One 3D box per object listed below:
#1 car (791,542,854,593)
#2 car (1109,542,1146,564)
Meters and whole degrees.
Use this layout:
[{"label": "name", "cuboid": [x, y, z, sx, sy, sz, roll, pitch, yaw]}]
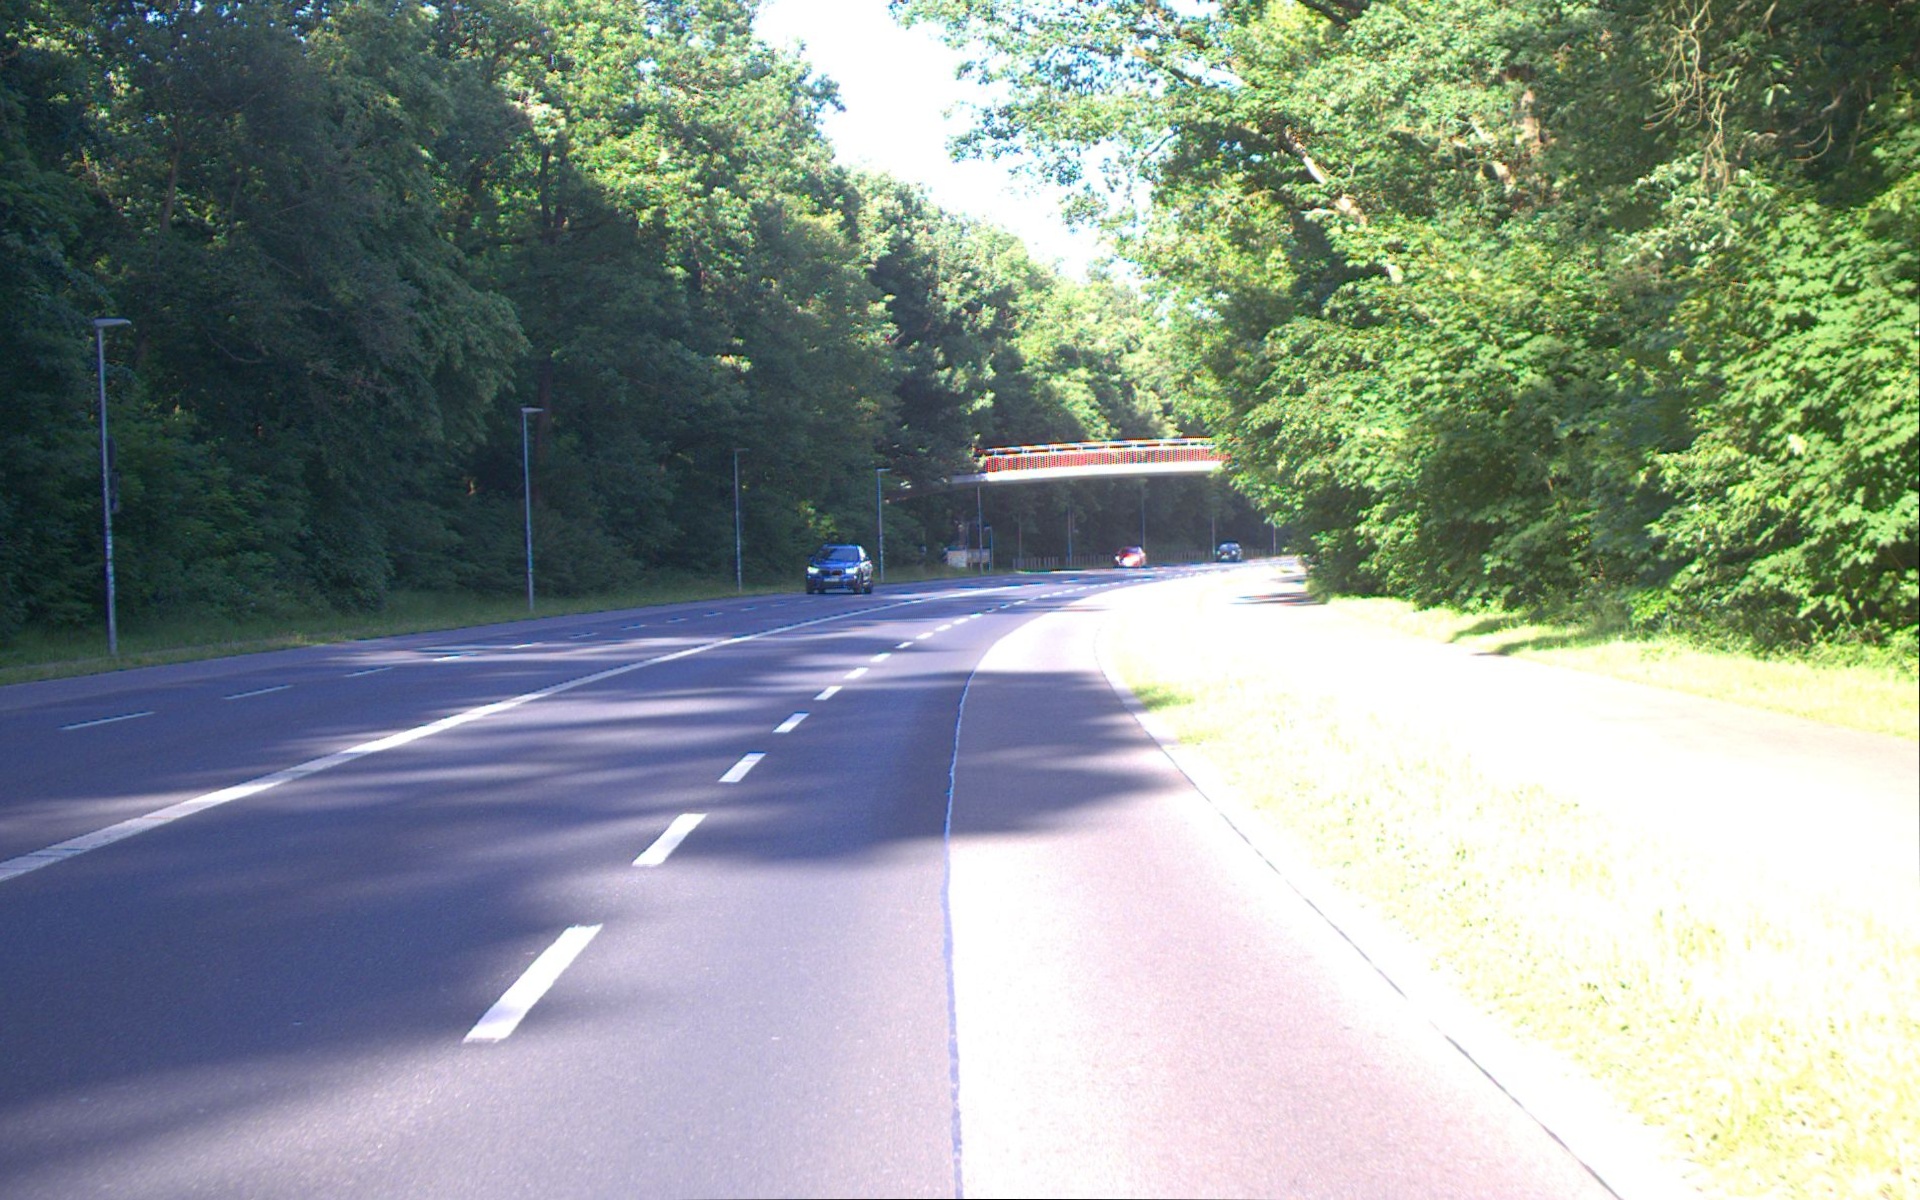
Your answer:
[{"label": "car", "cuboid": [-4.539, -1.092, 113.958, 1.807, 1.657, 4.522, 0, 1, 1]}, {"label": "car", "cuboid": [10.786, -3.047, 221.501, 1.711, 1.418, 4.128, 0, 1, 12]}]
